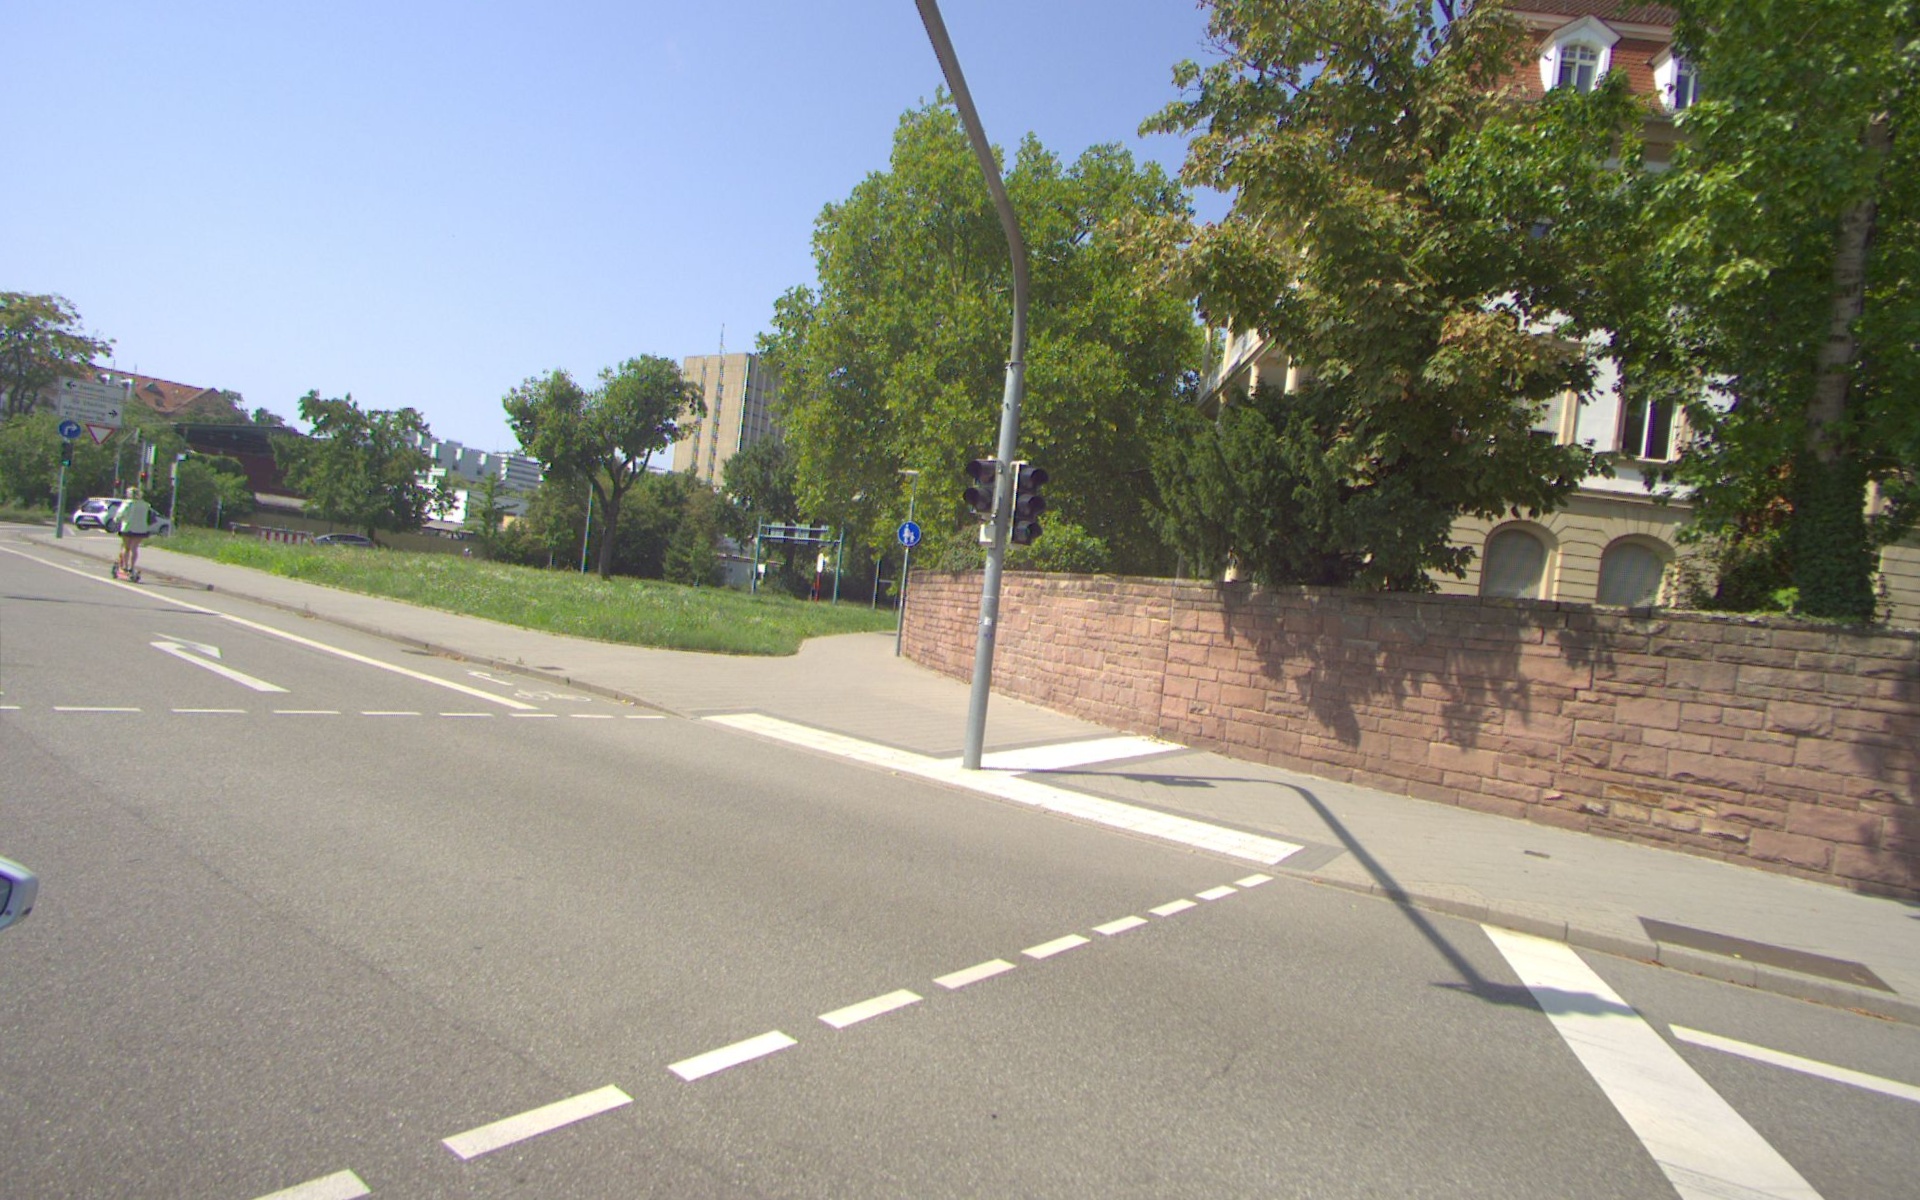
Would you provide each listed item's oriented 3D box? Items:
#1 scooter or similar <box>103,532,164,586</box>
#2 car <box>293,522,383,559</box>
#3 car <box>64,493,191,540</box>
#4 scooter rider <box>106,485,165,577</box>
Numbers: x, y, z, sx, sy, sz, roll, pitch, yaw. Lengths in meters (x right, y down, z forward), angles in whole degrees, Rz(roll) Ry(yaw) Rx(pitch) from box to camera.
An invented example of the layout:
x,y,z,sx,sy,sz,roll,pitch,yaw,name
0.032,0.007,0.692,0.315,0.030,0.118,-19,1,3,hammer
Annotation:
x,y,z,sx,sy,sz,roll,pitch,yaw,name
-17.056,-0.853,20.755,0.770,0.938,1.600,7,0,-44,scooter or similar
-36.111,-3.435,58.453,1.796,1.585,3.984,7,0,39,car
-35.855,-3.576,43.467,1.813,1.408,4.001,7,0,7,car
-17.089,-1.421,20.851,0.548,1.798,0.760,8,1,44,scooter rider
